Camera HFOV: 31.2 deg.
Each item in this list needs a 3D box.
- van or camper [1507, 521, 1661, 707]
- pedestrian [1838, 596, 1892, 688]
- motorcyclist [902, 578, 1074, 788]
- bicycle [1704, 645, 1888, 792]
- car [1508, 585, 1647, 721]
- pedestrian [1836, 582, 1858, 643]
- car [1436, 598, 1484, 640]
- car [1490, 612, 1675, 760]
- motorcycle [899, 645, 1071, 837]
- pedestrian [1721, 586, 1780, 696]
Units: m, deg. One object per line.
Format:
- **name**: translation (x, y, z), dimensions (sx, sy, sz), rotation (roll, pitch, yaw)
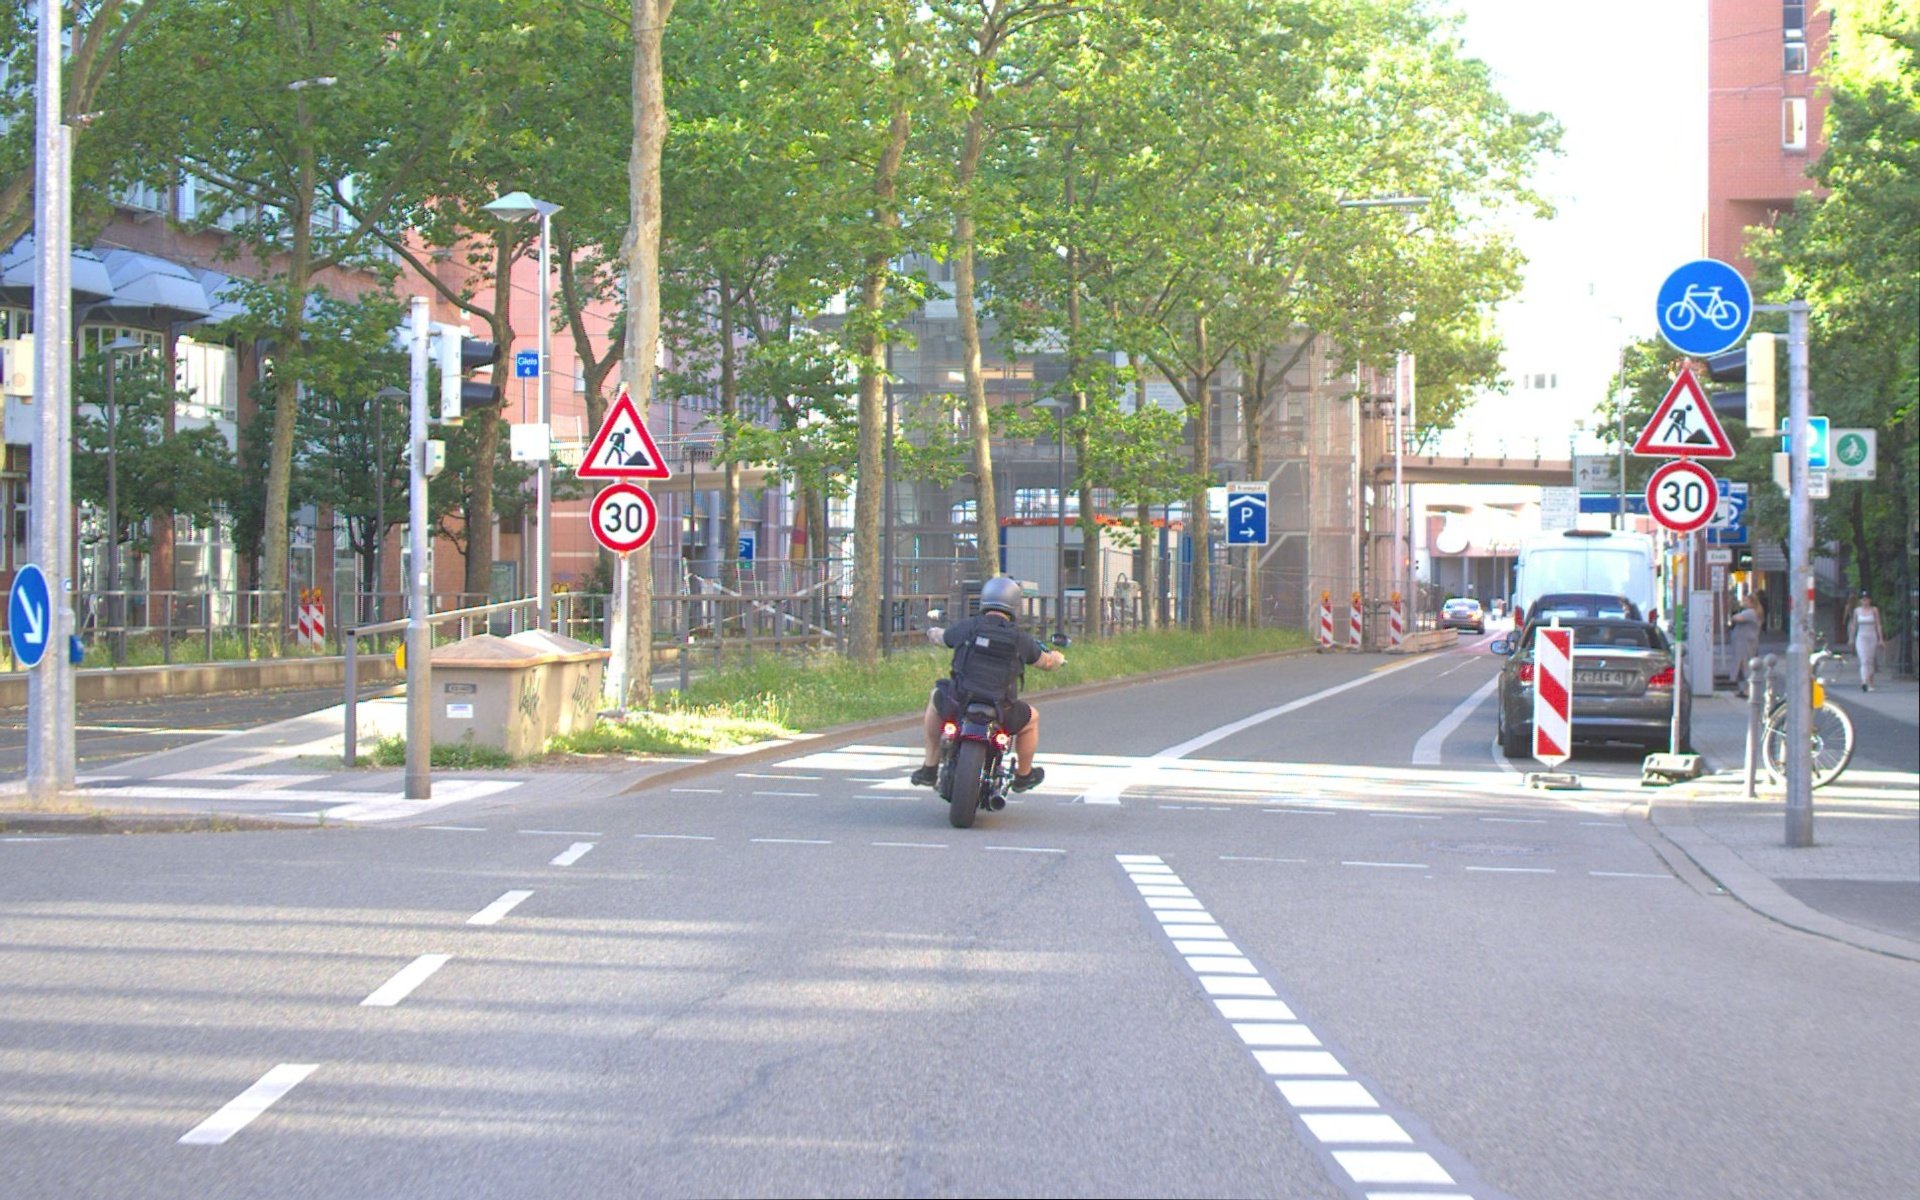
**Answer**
- **van or camper**: translation (9.025, 0.174, 49.925), dimensions (2.049, 2.532, 5.770), rotation (1, 0, 10)
- **pedestrian**: translation (14.431, 0.662, 54.823), dimensions (0.766, 1.440, 0.779), rotation (2, 0, 12)
- **motorcyclist**: translation (0.176, 0.517, 21.853), dimensions (1.011, 1.258, 0.774), rotation (3, 1, 0)
- **bicycle**: translation (6.397, 0.893, 26.390), dimensions (0.737, 1.049, 1.752), rotation (0, 1, -9)
- **car**: translation (7.774, 0.624, 43.508), dimensions (1.621, 1.614, 4.483), rotation (1, 0, 9)
- **pedestrian**: translation (23.401, 0.329, 90.712), dimensions (0.449, 1.621, 0.375), rotation (1, 0, -1)
- **car**: translation (21.163, 0.784, 145.587), dimensions (1.852, 1.711, 3.999), rotation (0, 0, 6)
- **car**: translation (6.022, 0.793, 33.608), dimensions (1.621, 1.298, 4.310), rotation (1, 0, 8)
- **motorcycle**: translation (0.154, 0.863, 21.726), dimensions (1.018, 1.093, 2.007), rotation (1, 1, 0)
- **pedestrian**: translation (11.968, 0.616, 52.059), dimensions (0.762, 1.639, 0.547), rotation (0, 0, 3)
